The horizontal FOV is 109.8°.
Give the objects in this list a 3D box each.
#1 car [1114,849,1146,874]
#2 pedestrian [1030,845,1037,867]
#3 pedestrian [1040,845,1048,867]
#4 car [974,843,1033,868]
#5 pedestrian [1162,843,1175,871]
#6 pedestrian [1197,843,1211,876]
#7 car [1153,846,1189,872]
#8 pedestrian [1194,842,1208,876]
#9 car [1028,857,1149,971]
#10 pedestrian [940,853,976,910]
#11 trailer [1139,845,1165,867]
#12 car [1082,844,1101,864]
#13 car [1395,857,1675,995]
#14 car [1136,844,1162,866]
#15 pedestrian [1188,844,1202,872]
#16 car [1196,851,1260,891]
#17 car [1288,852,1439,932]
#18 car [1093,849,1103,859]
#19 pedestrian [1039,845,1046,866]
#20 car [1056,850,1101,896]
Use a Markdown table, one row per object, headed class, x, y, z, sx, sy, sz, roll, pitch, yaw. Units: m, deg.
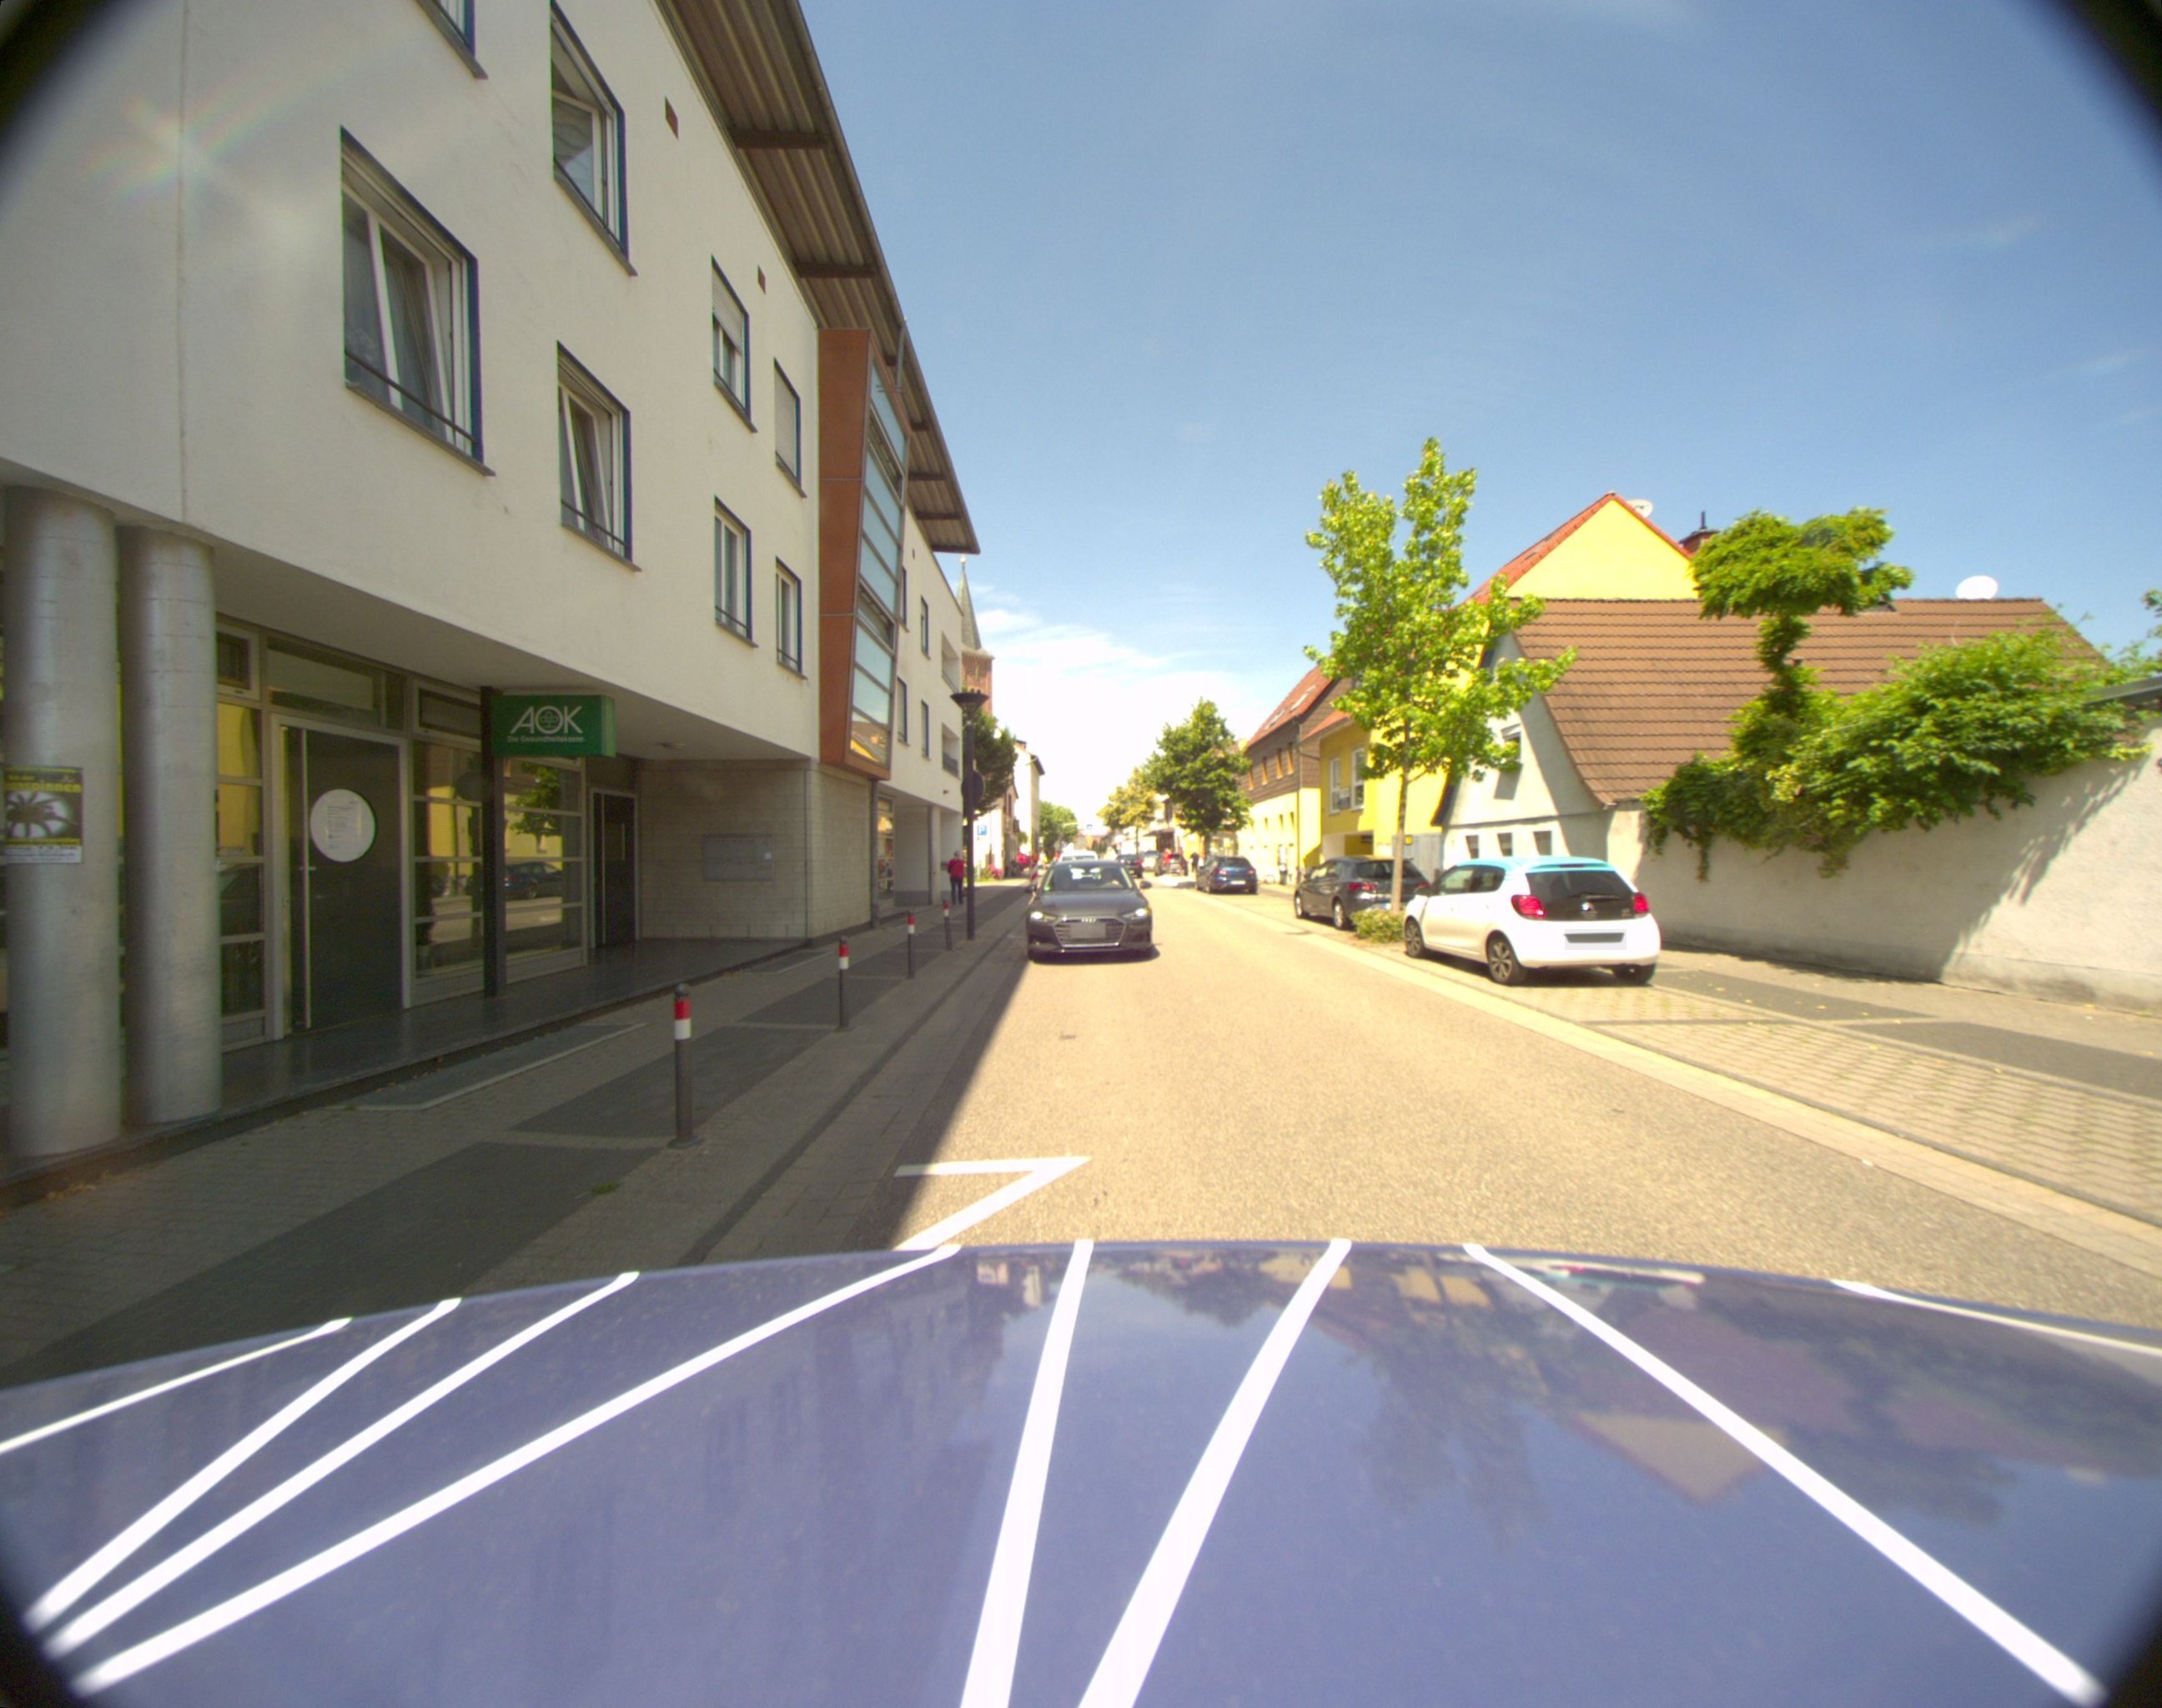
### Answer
| class | x | y | z | sx | sy | sz | roll | pitch | yaw |
| --- | --- | --- | --- | --- | --- | --- | --- | --- | --- |
| car | 2.967 | 0.420 | 46.574 | 1.693 | 1.464 | 3.999 | 1 | 1 | 0 |
| pedestrian | -4.109 | 0.170 | 65.703 | 0.581 | 1.875 | 0.695 | 0 | 1 | 2 |
| pedestrian | -3.237 | 0.180 | 66.629 | 0.581 | 1.875 | 0.695 | 0 | 1 | 2 |
| car | -5.817 | 0.070 | 57.475 | 4.204 | 1.849 | 2.000 | 0 | 1 | 0 |
| pedestrian | 5.119 | 0.184 | 44.474 | 0.643 | 1.645 | 0.624 | 0 | 1 | 0 |
| pedestrian | 6.120 | 0.265 | 37.755 | 0.631 | 1.592 | 0.528 | -1 | 1 | 1 |
| car | 5.685 | 0.280 | 48.363 | 1.753 | 1.566 | 4.157 | -1 | 1 | 0 |
| pedestrian | 5.819 | 0.242 | 36.882 | 0.631 | 1.592 | 0.528 | -1 | 1 | 1 |
| car | 0.101 | 0.812 | 12.197 | 1.581 | 1.424 | 4.064 | -2 | 1 | 0 |
| pedestrian | -3.559 | 0.770 | 22.008 | 0.825 | 1.579 | 0.919 | 2 | 1 | 1 |
| trailer | 5.654 | 0.147 | 60.813 | 1.493 | 1.572 | 3.882 | -3 | 0 | -2 |
| car | 0.868 | -0.017 | 66.748 | 1.581 | 1.620 | 4.064 | 0 | 1 | 0 |
| car | 5.506 | 0.768 | 9.749 | 1.557 | 1.422 | 3.409 | 0 | 1 | 0 |
| car | 5.777 | 0.056 | 65.091 | 1.695 | 1.742 | 3.999 | -3 | 1 | -1 |
| pedestrian | 6.642 | 0.231 | 44.246 | 0.663 | 1.592 | 0.771 | -1 | 1 | 1 |
| car | 5.489 | 0.594 | 28.874 | 1.660 | 1.399 | 4.157 | -1 | 1 | 0 |
| car | 5.731 | 0.699 | 15.978 | 1.649 | 1.422 | 4.098 | 0 | 1 | 0 |
| car | 3.361 | 0.018 | 151.472 | 1.695 | 1.761 | 3.999 | -4 | 1 | -1 |
| pedestrian | -3.485 | 0.115 | 68.120 | 0.581 | 1.875 | 0.695 | 0 | 1 | 2 |
| car | -0.076 | 0.650 | 28.873 | 1.581 | 1.620 | 4.064 | 0 | 1 | 0 |
